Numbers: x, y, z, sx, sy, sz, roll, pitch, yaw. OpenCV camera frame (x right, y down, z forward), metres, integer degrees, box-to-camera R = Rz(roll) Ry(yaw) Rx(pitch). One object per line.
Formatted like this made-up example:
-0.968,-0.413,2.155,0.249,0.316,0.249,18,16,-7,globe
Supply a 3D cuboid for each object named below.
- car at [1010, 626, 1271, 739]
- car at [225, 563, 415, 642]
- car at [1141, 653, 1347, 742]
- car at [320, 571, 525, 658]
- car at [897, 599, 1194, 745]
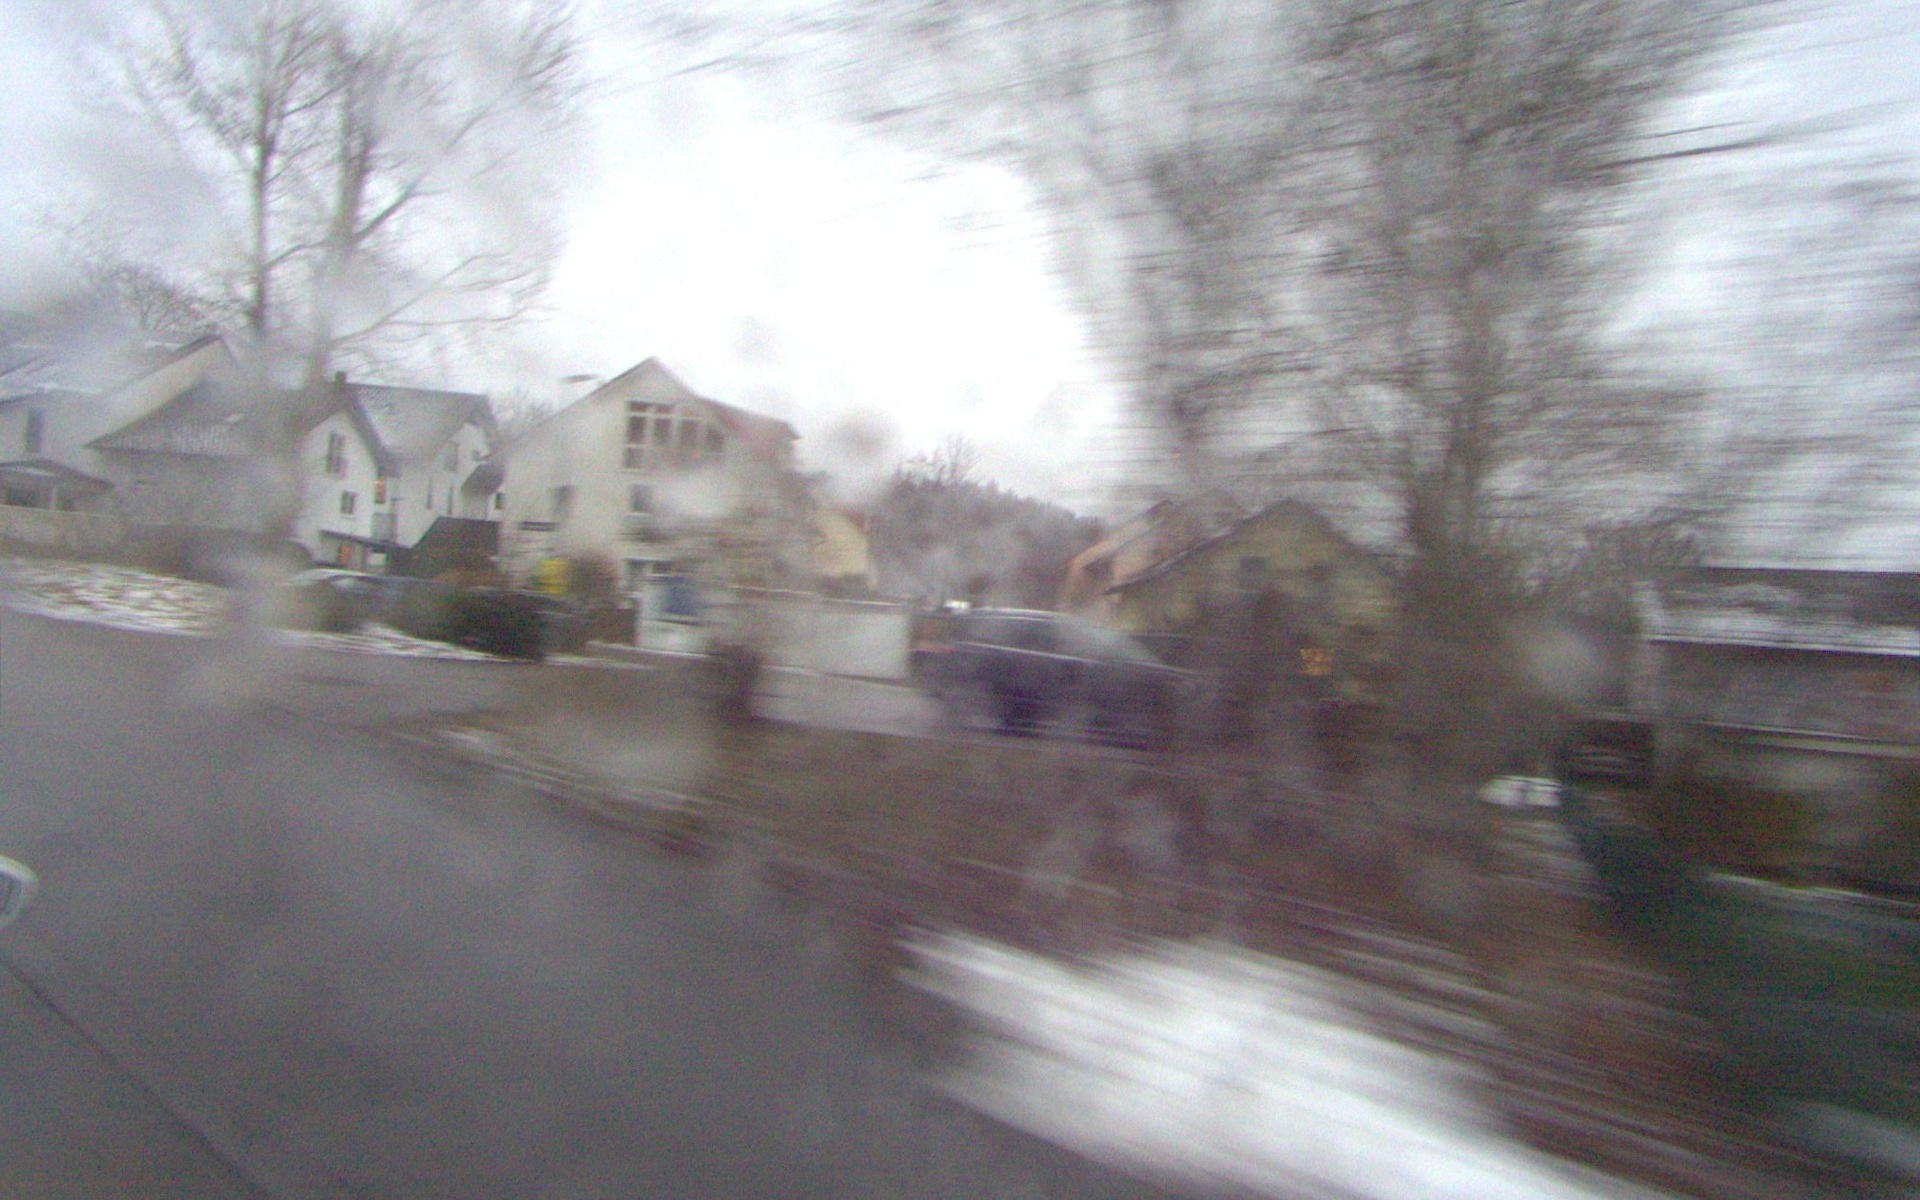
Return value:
2.843,1.272,16.001,3.679,1.489,1.641,2,-4,31,car
-17.023,0.117,26.934,1.772,1.615,3.791,7,-1,29,car
5.758,1.945,20.485,3.679,1.489,1.641,2,-4,31,car
-12.581,0.401,23.782,1.772,1.615,3.791,7,-1,29,car
1.151,0.951,13.948,3.679,1.702,1.641,2,-4,31,car
